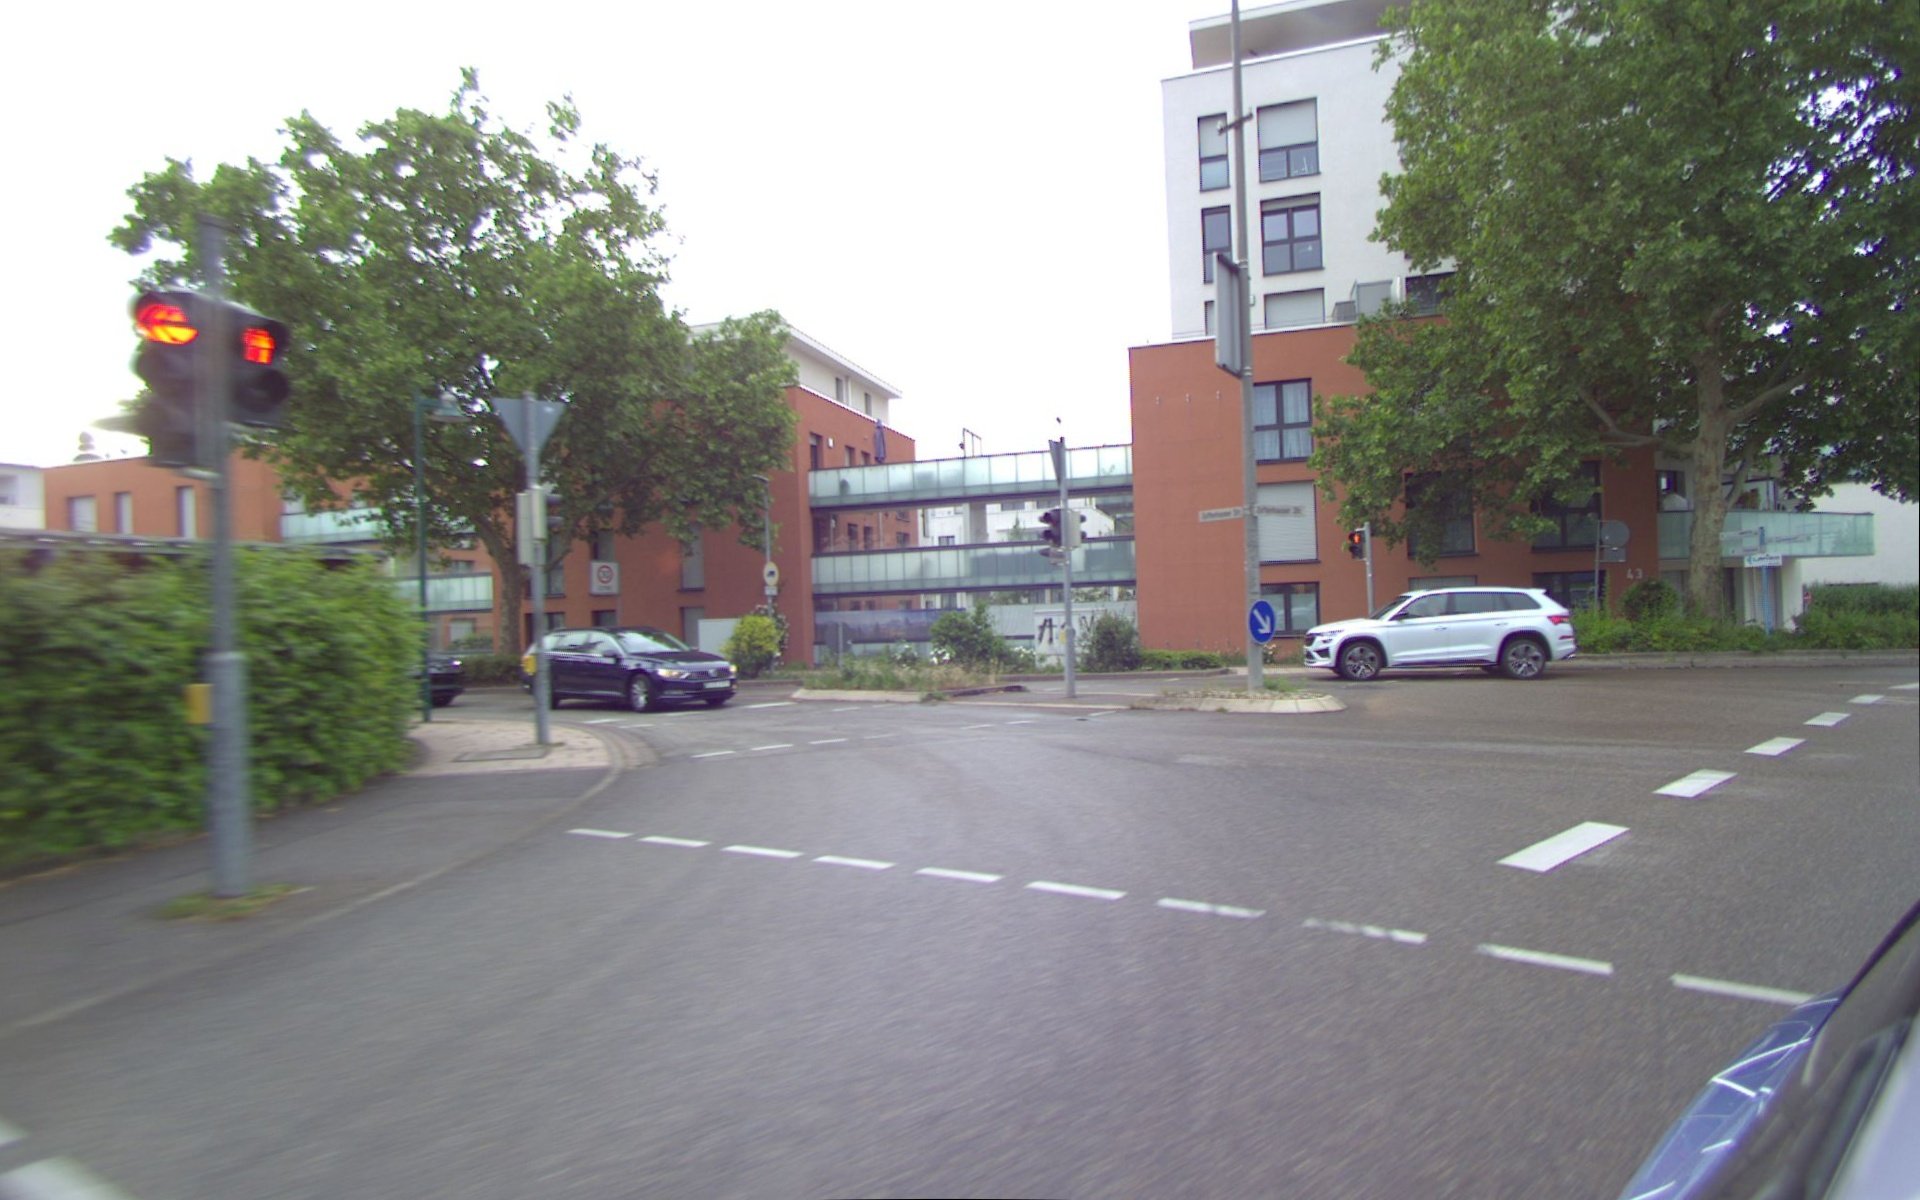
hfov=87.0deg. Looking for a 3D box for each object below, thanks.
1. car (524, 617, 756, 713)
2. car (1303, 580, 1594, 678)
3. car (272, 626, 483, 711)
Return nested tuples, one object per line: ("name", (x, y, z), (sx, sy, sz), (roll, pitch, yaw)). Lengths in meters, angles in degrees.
("car", (-5.791, 1.137, 18.136), (4.132, 1.481, 1.865), (-3, -2, 36))
("car", (8.932, 0.536, 18.901), (4.545, 1.659, 1.666), (-2, 0, 12))
("car", (-12.014, 1.412, 20.894), (3.889, 1.576, 1.794), (-3, -1, 23))
